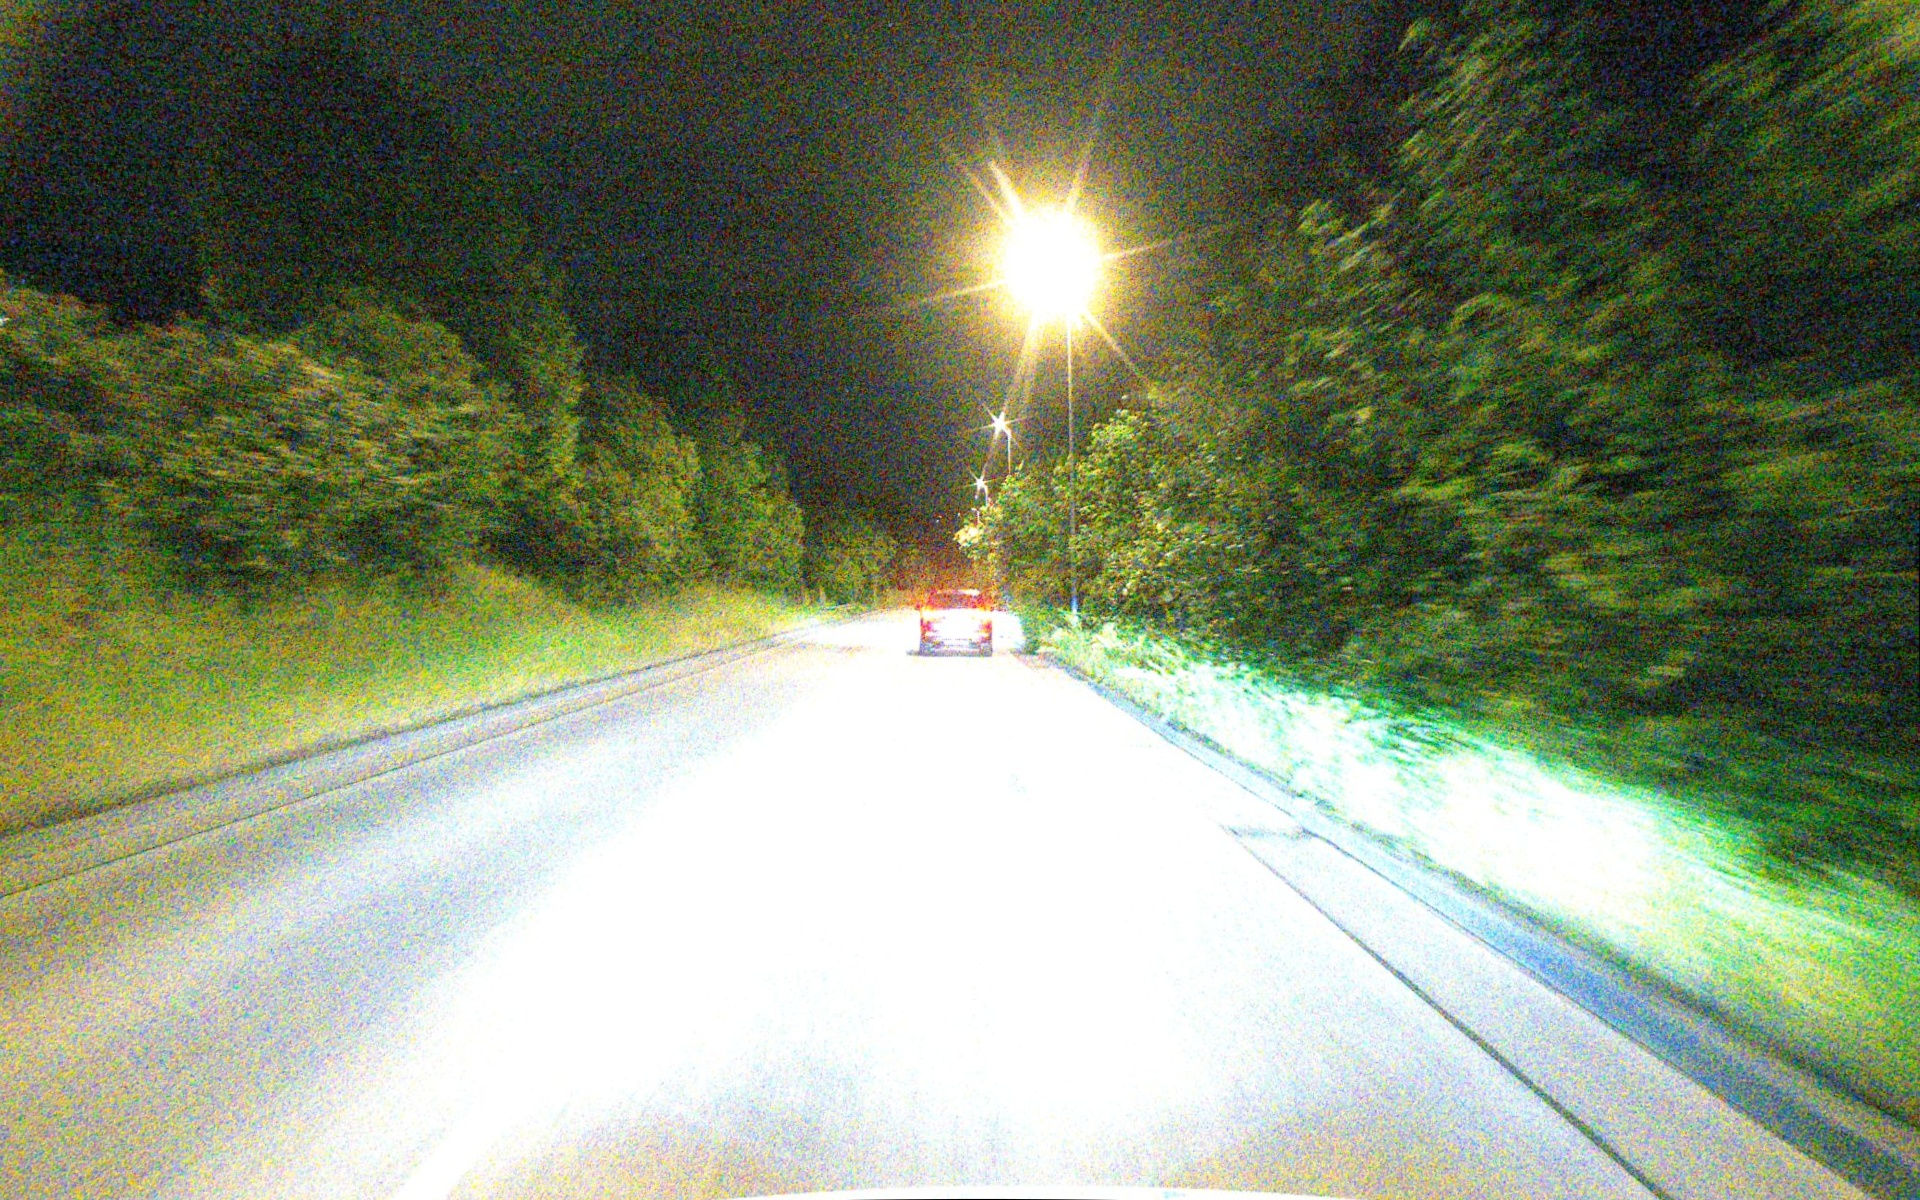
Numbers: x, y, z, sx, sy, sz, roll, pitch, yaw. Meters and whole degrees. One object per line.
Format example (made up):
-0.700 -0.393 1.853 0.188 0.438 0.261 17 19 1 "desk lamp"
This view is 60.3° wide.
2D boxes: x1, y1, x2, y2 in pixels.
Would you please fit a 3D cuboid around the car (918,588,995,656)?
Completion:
-0.130 0.513 41.172 1.778 1.601 3.942 1 0 -2 "car"
